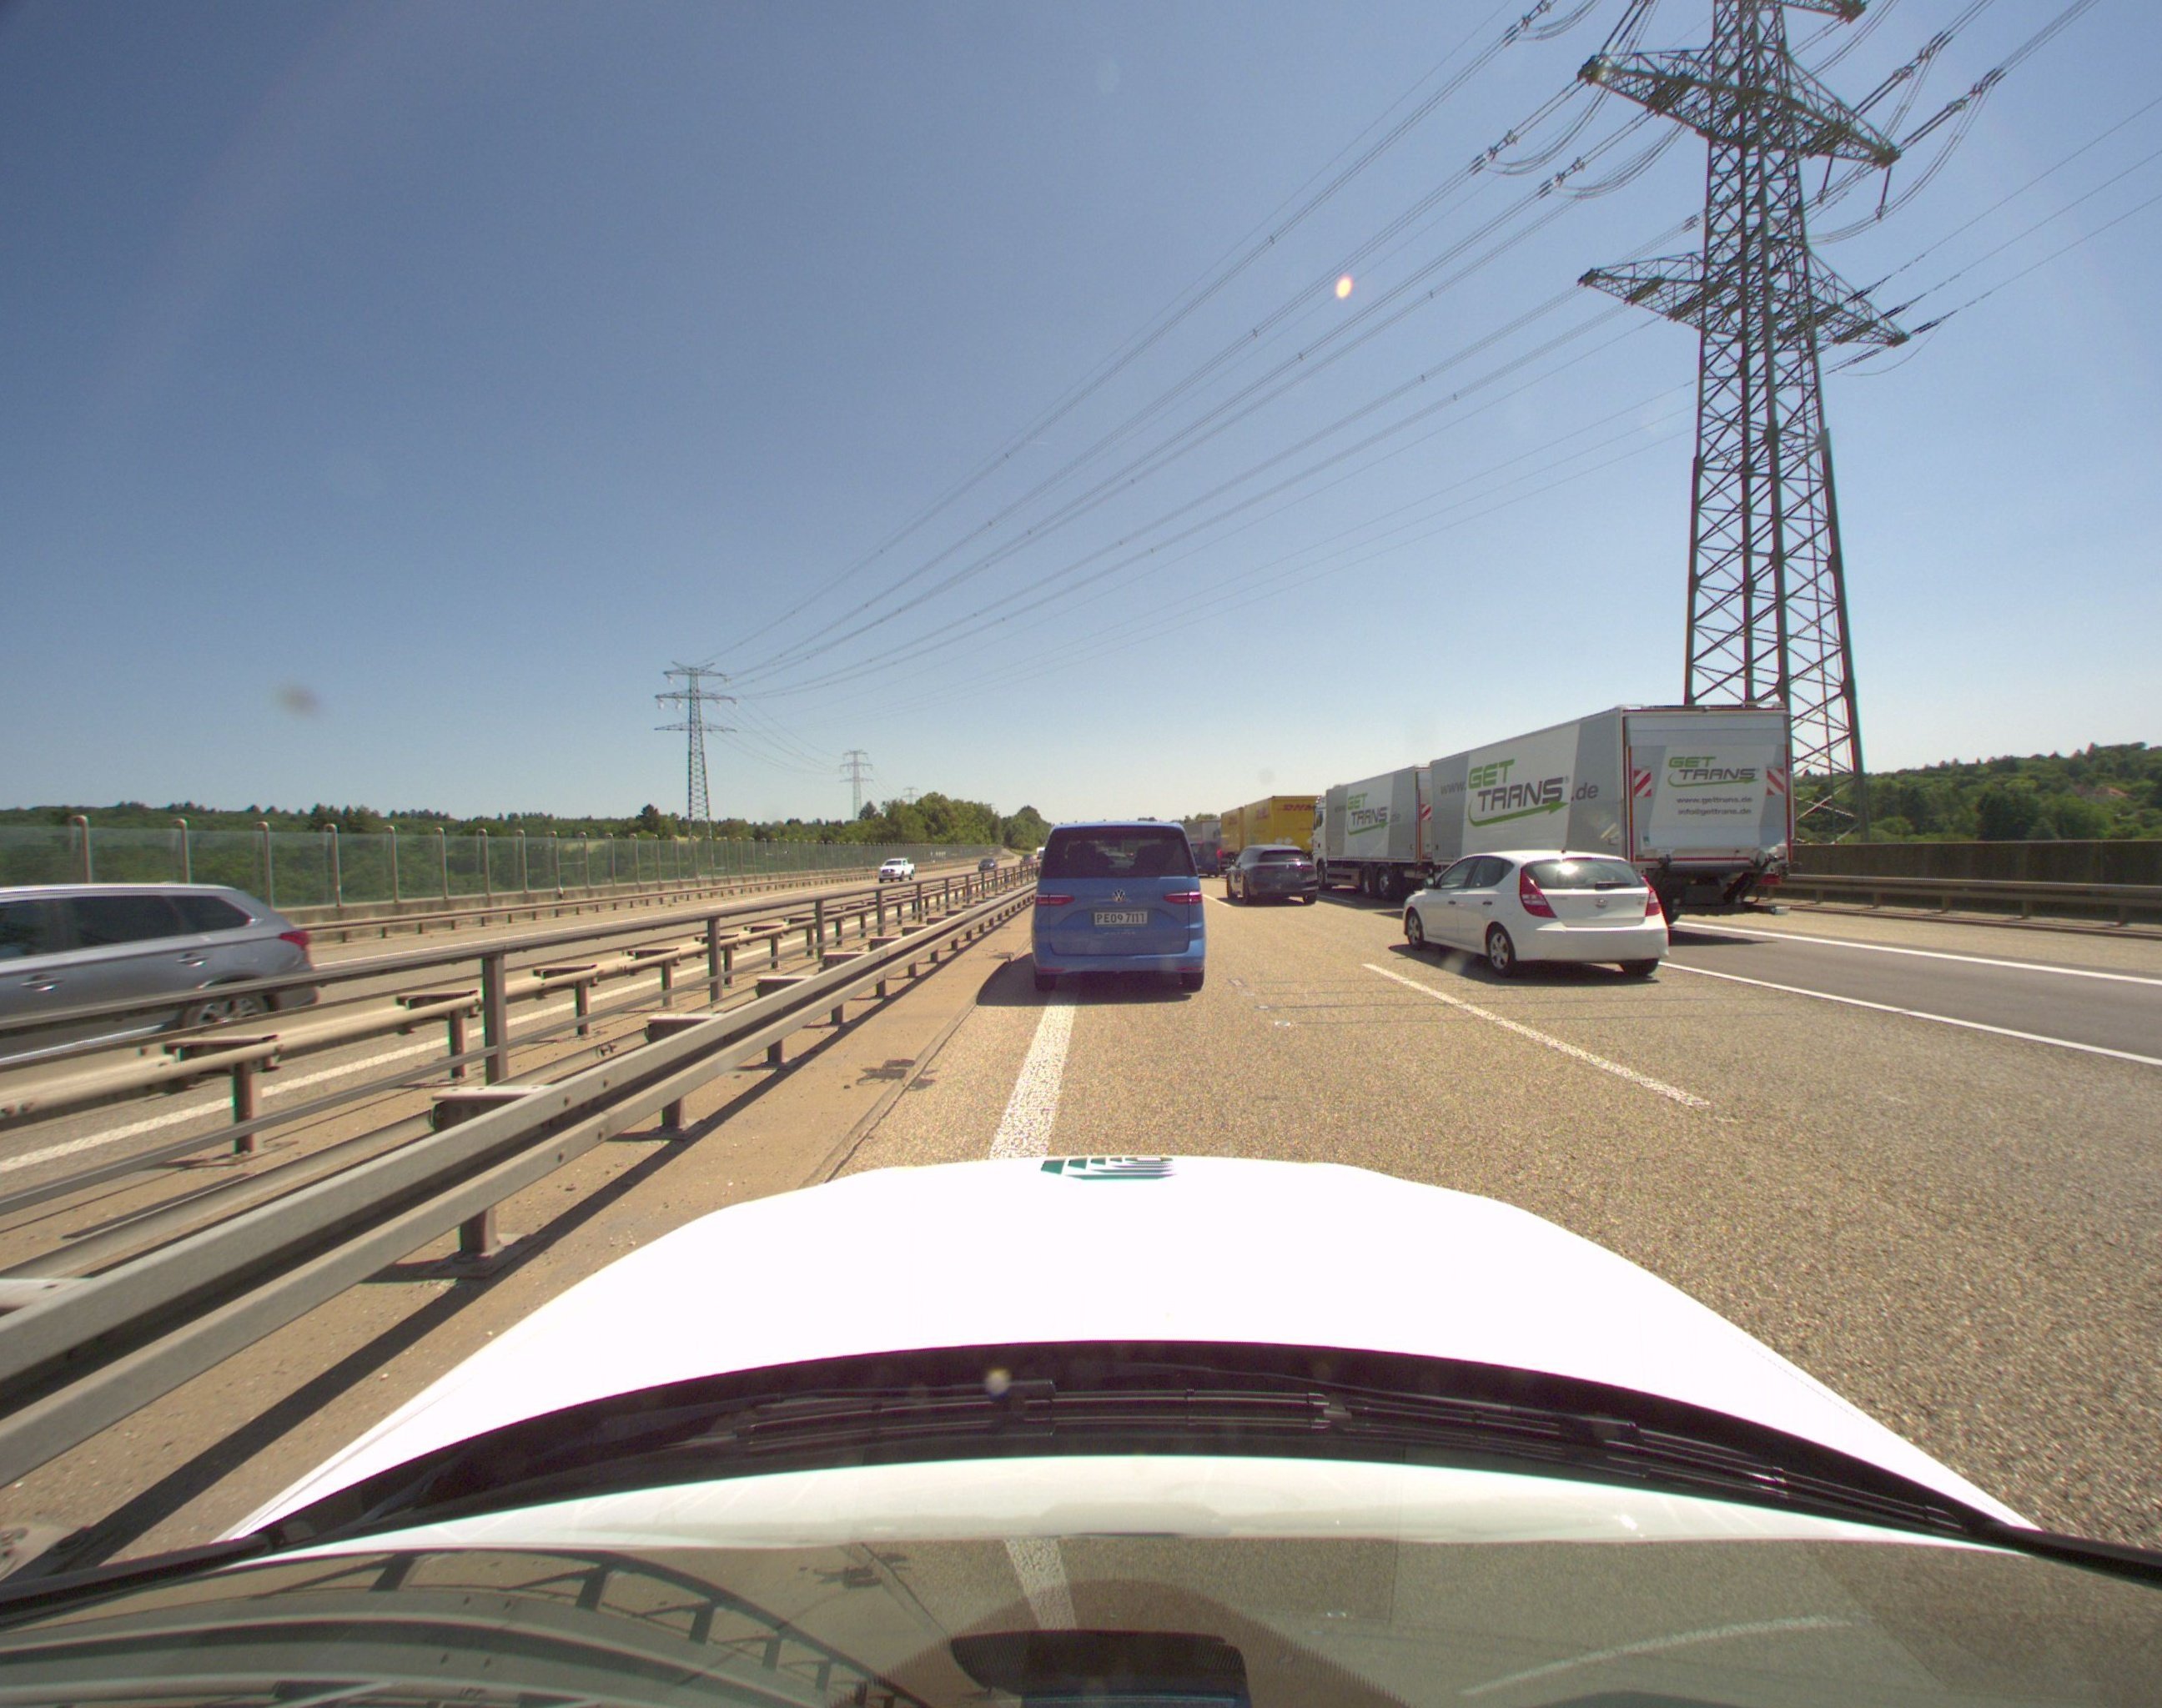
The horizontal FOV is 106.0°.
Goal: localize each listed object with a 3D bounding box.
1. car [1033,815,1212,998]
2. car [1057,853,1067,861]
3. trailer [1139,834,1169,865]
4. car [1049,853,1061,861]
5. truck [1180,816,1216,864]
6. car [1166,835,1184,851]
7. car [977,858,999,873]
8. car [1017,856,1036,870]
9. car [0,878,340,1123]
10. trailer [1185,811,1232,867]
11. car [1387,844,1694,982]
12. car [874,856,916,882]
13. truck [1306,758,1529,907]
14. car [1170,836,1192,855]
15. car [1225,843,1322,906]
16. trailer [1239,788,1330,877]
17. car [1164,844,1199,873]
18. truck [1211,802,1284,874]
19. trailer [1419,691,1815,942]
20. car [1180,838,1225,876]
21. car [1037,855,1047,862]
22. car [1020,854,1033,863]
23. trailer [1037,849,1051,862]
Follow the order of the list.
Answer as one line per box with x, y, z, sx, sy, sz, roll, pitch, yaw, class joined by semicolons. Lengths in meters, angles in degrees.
0.493;0.539;10.350;1.813;1.857;4.076;0;0;2;car
-3.946;0.660;172.748;1.662;1.448;4.003;-5;0;3;car
7.482;-0.455;84.581;2.559;2.990;10.667;0;0;2;trailer
-4.881;0.555;153.278;1.784;1.478;3.990;-2;0;2;car
11.317;-1.277;79.209;2.657;4.484;6.852;0;0;2;truck
12.319;-1.470;106.932;1.986;2.013;4.463;-2;0;2;car
-9.780;1.173;85.848;1.591;1.350;4.181;-4;0;2;car
-6.002;0.972;90.172;1.592;1.317;4.343;-3;0;1;car
-8.464;1.070;6.011;1.799;1.627;4.479;0;0;1;car
11.081;-1.250;71.848;2.627;4.516;11.305;0;0;2;trailer
5.784;0.638;10.968;1.782;1.455;4.295;-1;0;2;car
-14.700;1.147;64.610;1.986;1.885;5.257;-1;0;1;car
9.893;-0.563;25.744;2.647;3.648;11.013;-1;0;1;truck
10.967;-0.878;89.473;1.986;2.014;4.002;0;0;2;car
5.588;0.546;24.189;1.955;1.644;4.295;-1;0;2;car
10.679;-1.013;43.679;2.854;4.239;9.015;0;0;2;trailer
6.704;0.275;54.635;1.986;1.816;4.002;-1;0;2;car
10.726;-0.973;53.728;2.826;4.243;11.013;0;0;1;truck
9.691;-0.573;16.212;2.688;3.700;8.017;-1;0;1;trailer
6.747;0.176;45.695;1.955;1.993;4.295;-1;0;2;car
-8.418;0.881;175.267;1.769;1.407;4.684;-3;0;2;car
-9.326;0.738;138.640;1.723;1.491;4.421;-3;0;1;car
-8.202;0.303;181.008;2.484;2.549;6.777;-3;0;2;trailer
